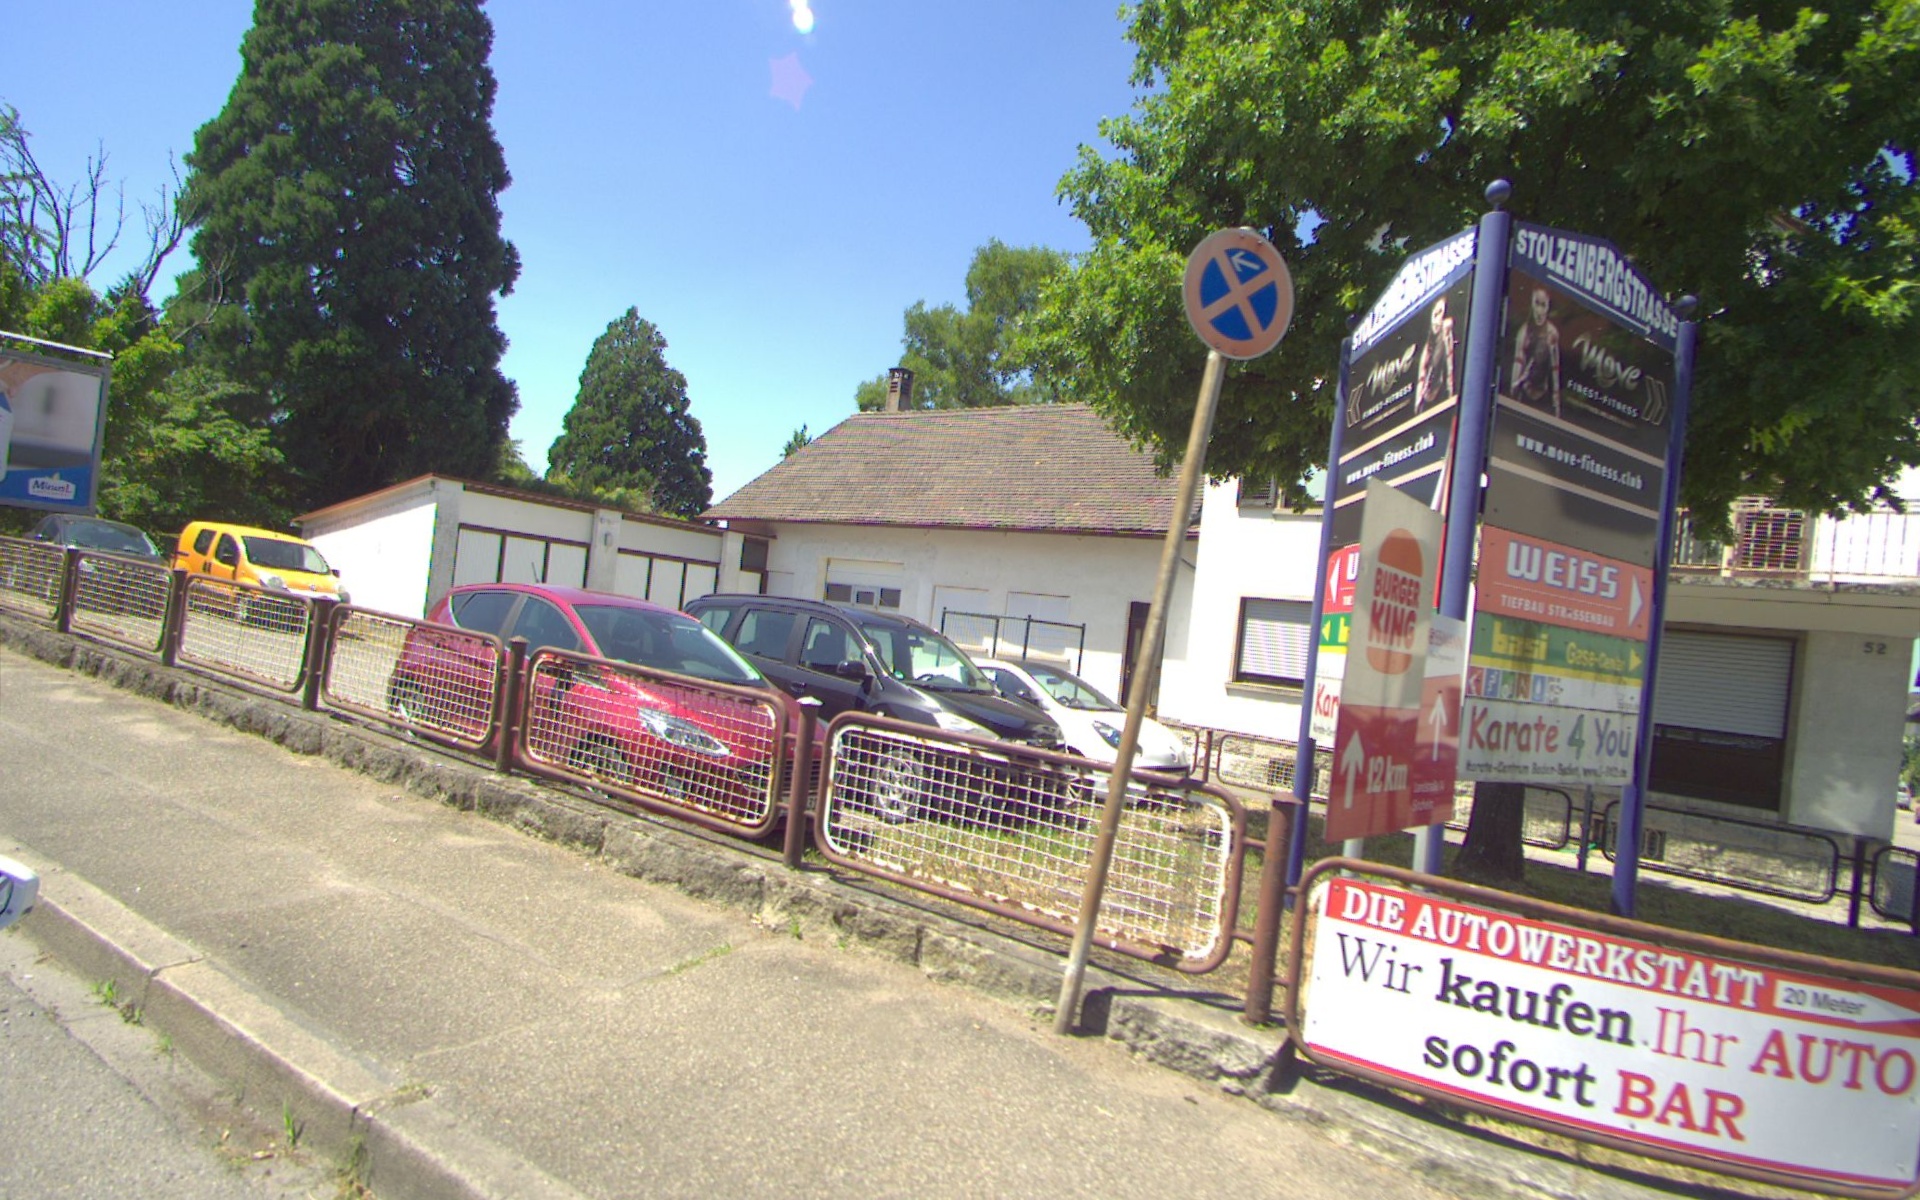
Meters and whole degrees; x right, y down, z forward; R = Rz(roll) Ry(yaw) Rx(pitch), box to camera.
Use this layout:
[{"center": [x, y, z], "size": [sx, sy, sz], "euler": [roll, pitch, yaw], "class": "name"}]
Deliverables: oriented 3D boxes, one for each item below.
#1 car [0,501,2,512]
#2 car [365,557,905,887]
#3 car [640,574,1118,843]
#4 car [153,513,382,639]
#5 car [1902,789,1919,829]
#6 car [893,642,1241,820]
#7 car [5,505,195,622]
[{"center": [-16.462, -1.047, 15.239], "size": [3.494, 1.474, 1.638], "euler": [7, -4, 28], "class": "car"}, {"center": [-2.445, 0.672, 7.177], "size": [3.782, 1.542, 1.711], "euler": [6, -1, 38], "class": "car"}, {"center": [-0.944, 0.845, 9.315], "size": [4.399, 1.684, 1.710], "euler": [6, -3, 42], "class": "car"}, {"center": [-13.340, -0.478, 19.341], "size": [4.094, 1.818, 1.781], "euler": [6, -4, 29], "class": "car"}, {"center": [42.646, 9.249, 43.735], "size": [1.799, 1.562, 3.396], "euler": [7, -3, 34], "class": "car"}, {"center": [1.055, 1.334, 10.932], "size": [1.707, 1.285, 3.343], "euler": [8, -2, -44], "class": "car"}, {"center": [-15.016, -0.658, 17.536], "size": [3.341, 1.559, 1.634], "euler": [6, -5, 37], "class": "car"}]
